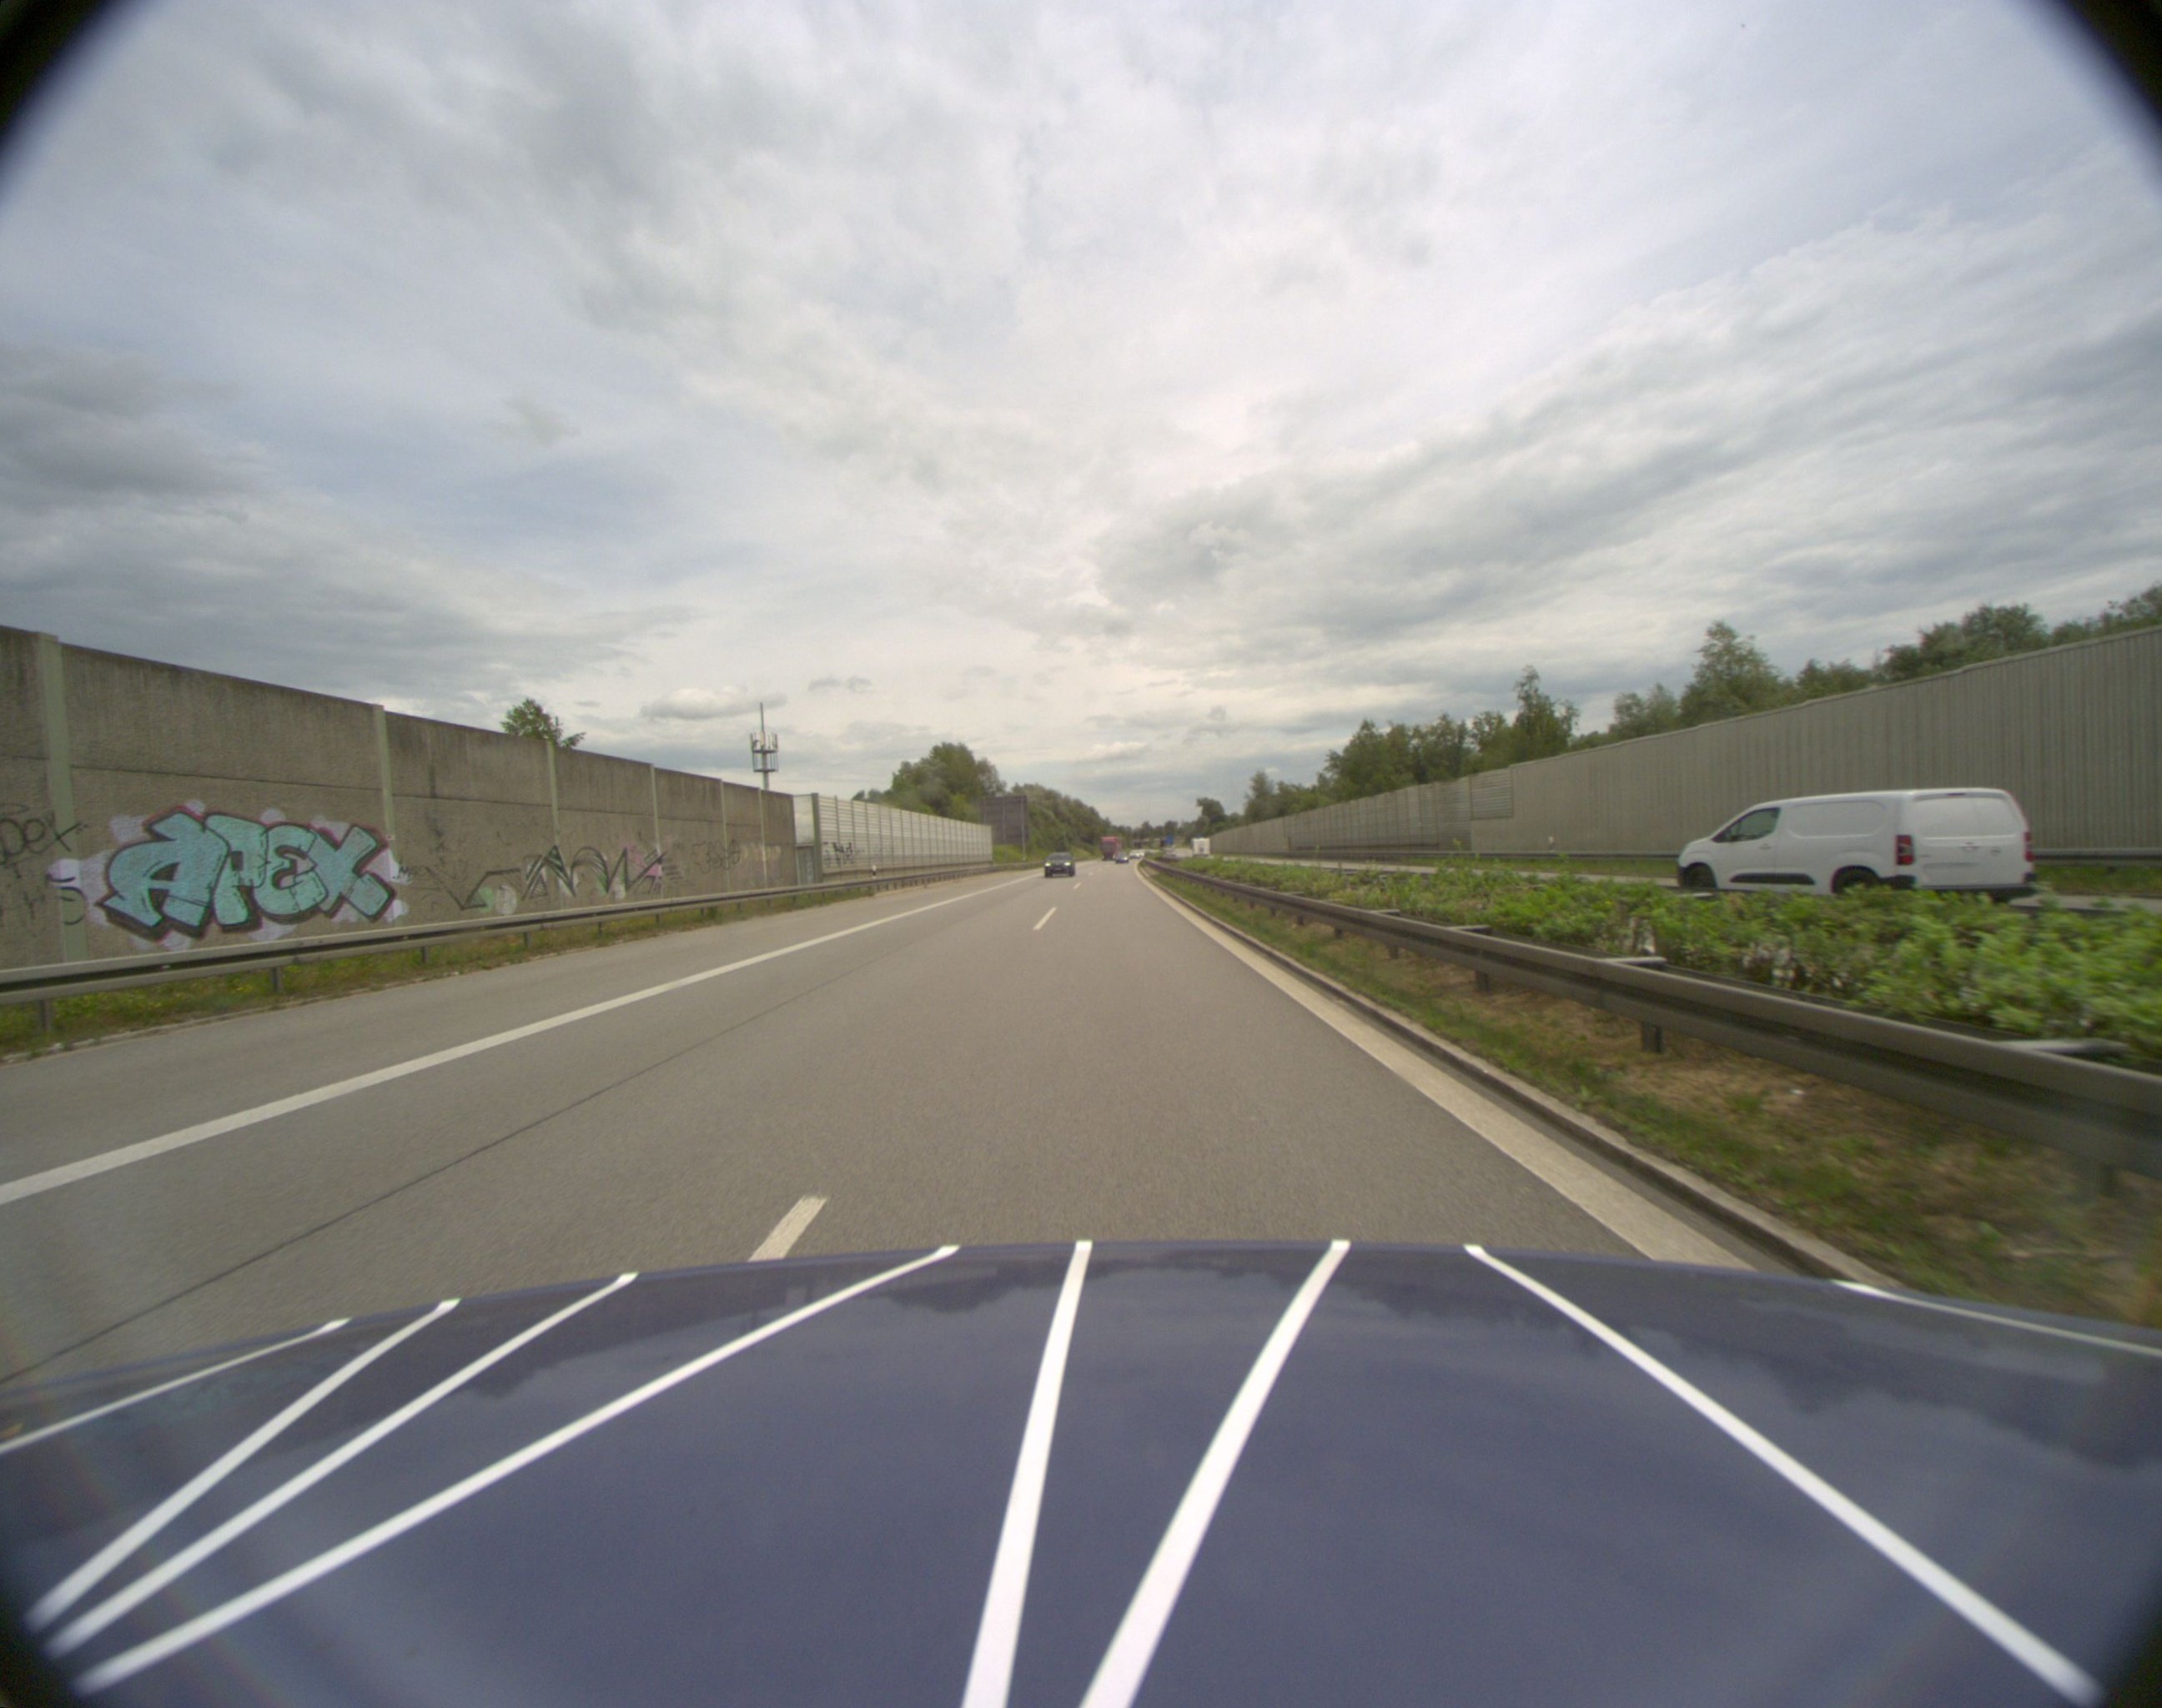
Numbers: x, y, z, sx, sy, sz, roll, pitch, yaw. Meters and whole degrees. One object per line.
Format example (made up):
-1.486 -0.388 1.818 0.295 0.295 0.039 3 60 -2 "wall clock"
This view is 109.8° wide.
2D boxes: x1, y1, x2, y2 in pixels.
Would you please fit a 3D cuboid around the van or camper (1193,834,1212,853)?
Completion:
19.207 -1.622 120.158 2.471 2.853 7.771 -2 0 6 "van or camper"

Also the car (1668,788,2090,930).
11.745 0.050 11.796 1.746 1.734 4.627 -1 0 1 "car"

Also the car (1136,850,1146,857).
13.657 -0.099 173.256 1.888 1.608 4.002 -1 0 8 "car"

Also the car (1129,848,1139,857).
9.910 -0.267 142.025 1.889 1.608 4.001 -1 0 5 "car"

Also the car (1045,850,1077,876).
-1.257 0.544 50.505 1.889 1.608 4.000 -1 0 1 "car"

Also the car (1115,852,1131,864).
5.765 0.498 103.380 1.888 1.608 4.001 -1 0 6 "car"

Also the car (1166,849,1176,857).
16.100 -0.244 135.575 1.696 1.412 4.649 -1 0 7 "car"

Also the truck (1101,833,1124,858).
5.655 -1.468 134.437 2.932 4.068 11.348 -2 0 8 "truck"
